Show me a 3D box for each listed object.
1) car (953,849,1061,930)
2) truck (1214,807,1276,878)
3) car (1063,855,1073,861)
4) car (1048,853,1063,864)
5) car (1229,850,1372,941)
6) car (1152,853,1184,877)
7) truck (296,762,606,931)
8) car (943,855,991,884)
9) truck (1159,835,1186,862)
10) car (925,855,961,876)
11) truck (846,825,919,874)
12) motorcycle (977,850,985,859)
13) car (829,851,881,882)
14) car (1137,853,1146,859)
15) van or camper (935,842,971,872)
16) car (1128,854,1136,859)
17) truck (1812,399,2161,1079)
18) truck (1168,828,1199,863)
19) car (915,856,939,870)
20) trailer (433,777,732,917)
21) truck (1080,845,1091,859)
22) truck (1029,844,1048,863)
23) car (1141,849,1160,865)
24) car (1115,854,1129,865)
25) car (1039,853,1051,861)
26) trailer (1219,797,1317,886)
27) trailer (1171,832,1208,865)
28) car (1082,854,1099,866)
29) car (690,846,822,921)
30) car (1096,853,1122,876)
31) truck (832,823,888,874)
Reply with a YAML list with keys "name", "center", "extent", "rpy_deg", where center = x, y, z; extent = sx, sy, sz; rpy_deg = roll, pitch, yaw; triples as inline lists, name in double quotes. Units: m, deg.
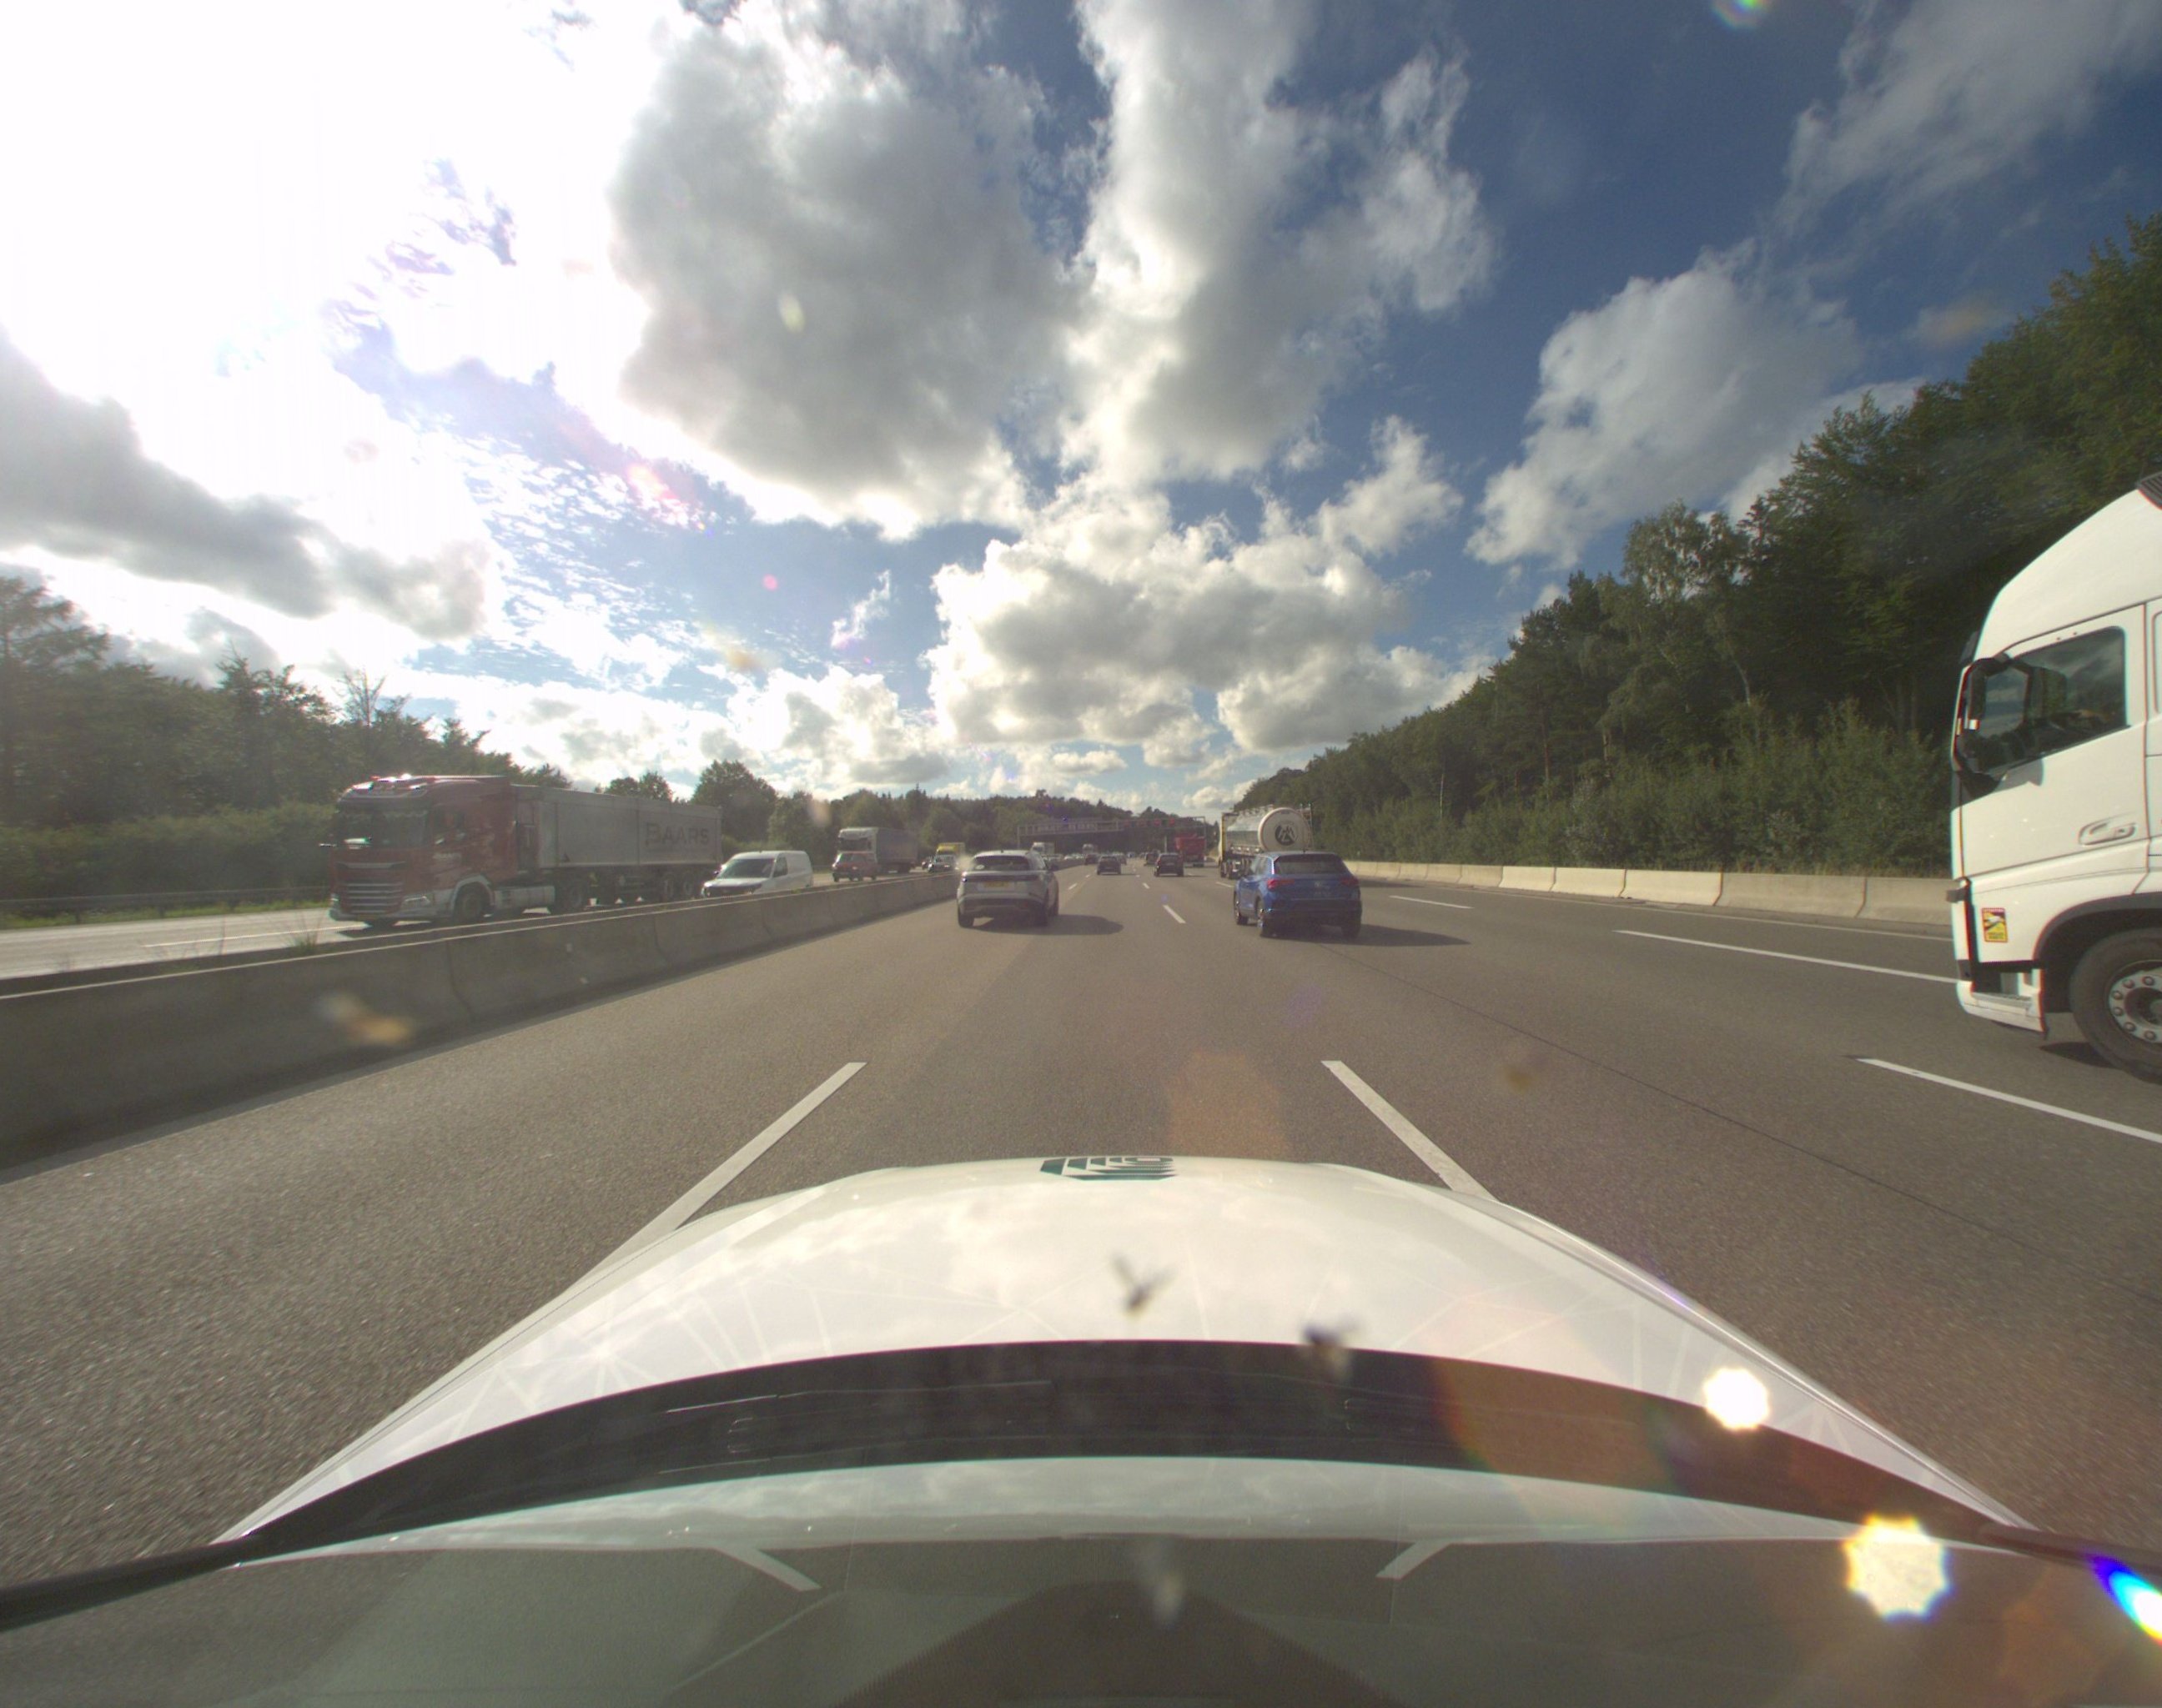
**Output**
- name: "car"
  center: [-1.560, 0.719, 19.174]
  extent: [1.999, 1.616, 5.301]
  rpy_deg: [0, 0, 0]
- name: "truck"
  center: [9.415, -0.623, 47.319]
  extent: [2.637, 3.823, 6.087]
  rpy_deg: [-2, 0, 3]
- name: "car"
  center: [-2.729, 0.777, 173.047]
  extent: [1.803, 1.161, 4.520]
  rpy_deg: [-1, 0, 4]
- name: "car"
  center: [-3.793, 0.710, 122.717]
  extent: [1.855, 1.552, 4.664]
  rpy_deg: [-1, 0, 2]
- name: "car"
  center: [4.101, 0.689, 15.966]
  extent: [1.766, 1.530, 4.460]
  rpy_deg: [0, 0, 2]
- name: "car"
  center: [5.632, 0.668, 52.918]
  extent: [1.815, 1.457, 4.003]
  rpy_deg: [-1, 0, 3]
- name: "truck"
  center: [-16.575, -0.163, 22.240]
  extent: [2.955, 3.858, 6.769]
  rpy_deg: [-1, 0, 2]
- name: "car"
  center: [-8.196, 1.105, 59.034]
  extent: [2.161, 1.878, 5.369]
  rpy_deg: [-2, 0, 5]
- name: "truck"
  center: [14.040, -0.781, 125.561]
  extent: [3.108, 3.935, 10.411]
  rpy_deg: [-1, 0, 1]
- name: "car"
  center: [-11.007, 0.890, 65.431]
  extent: [1.837, 1.596, 4.915]
  rpy_deg: [-2, 0, 2]
- name: "truck"
  center: [-18.159, -0.393, 75.779]
  extent: [2.808, 4.094, 13.854]
  rpy_deg: [-1, 0, 3]
- name: "motorcycle"
  center: [-11.985, 0.042, 97.551]
  extent: [0.607, 1.040, 2.177]
  rpy_deg: [-1, 0, 4]
- name: "car"
  center: [-14.830, 0.792, 53.682]
  extent: [1.840, 1.940, 5.035]
  rpy_deg: [-1, 0, 2]
- name: "car"
  center: [16.023, 0.469, 215.896]
  extent: [2.067, 1.457, 4.005]
  rpy_deg: [-2, 0, 4]
- name: "van or camper"
  center: [-13.282, 0.307, 84.843]
  extent: [2.364, 2.891, 6.510]
  rpy_deg: [-2, 0, 2]
- name: "car"
  center: [14.363, 0.687, 227.495]
  extent: [2.066, 1.457, 4.007]
  rpy_deg: [-2, 0, 6]
- name: "truck"
  center: [7.800, -0.698, 4.303]
  extent: [2.763, 4.045, 5.776]
  rpy_deg: [-1, 0, 2]
- name: "truck"
  center: [11.285, -0.936, 90.280]
  extent: [2.701, 3.718, 5.818]
  rpy_deg: [-1, 0, 1]
- name: "car"
  center: [-17.442, 1.000, 92.509]
  extent: [1.689, 1.470, 4.025]
  rpy_deg: [-1, 0, 3]
- name: "trailer"
  center: [-16.304, -0.190, 28.298]
  extent: [2.955, 3.858, 11.288]
  rpy_deg: [-1, 0, 3]
- name: "truck"
  center: [1.405, -0.676, 238.915]
  extent: [2.726, 4.106, 5.773]
  rpy_deg: [-1, 0, 5]
- name: "truck"
  center: [-9.305, -0.120, 178.159]
  extent: [3.304, 4.106, 6.230]
  rpy_deg: [-1, 0, 3]
- name: "car"
  center: [8.180, 0.361, 96.251]
  extent: [1.887, 1.857, 4.100]
  rpy_deg: [0, 0, 1]
- name: "car"
  center: [5.558, 0.759, 109.610]
  extent: [1.815, 1.457, 4.002]
  rpy_deg: [-1, -1, 2]
- name: "car"
  center: [-6.362, 0.505, 143.467]
  extent: [1.762, 1.394, 4.693]
  rpy_deg: [-1, 0, 2]
- name: "trailer"
  center: [9.114, -0.557, 41.203]
  extent: [2.638, 3.767, 11.867]
  rpy_deg: [-2, 0, 3]
- name: "trailer"
  center: [11.216, -0.619, 85.254]
  extent: [2.700, 3.231, 9.734]
  rpy_deg: [-1, 0, 1]
- name: "car"
  center: [1.294, 0.758, 107.914]
  extent: [1.933, 1.457, 4.004]
  rpy_deg: [-2, 0, 4]
- name: "car"
  center: [-9.147, 0.762, 23.395]
  extent: [1.843, 1.878, 4.615]
  rpy_deg: [-2, 0, 0]
- name: "car"
  center: [2.014, 0.750, 59.569]
  extent: [1.816, 1.546, 4.000]
  rpy_deg: [-1, 0, 1]
- name: "truck"
  center: [-18.473, -0.458, 68.445]
  extent: [2.808, 4.094, 6.066]
  rpy_deg: [-1, 0, 3]
